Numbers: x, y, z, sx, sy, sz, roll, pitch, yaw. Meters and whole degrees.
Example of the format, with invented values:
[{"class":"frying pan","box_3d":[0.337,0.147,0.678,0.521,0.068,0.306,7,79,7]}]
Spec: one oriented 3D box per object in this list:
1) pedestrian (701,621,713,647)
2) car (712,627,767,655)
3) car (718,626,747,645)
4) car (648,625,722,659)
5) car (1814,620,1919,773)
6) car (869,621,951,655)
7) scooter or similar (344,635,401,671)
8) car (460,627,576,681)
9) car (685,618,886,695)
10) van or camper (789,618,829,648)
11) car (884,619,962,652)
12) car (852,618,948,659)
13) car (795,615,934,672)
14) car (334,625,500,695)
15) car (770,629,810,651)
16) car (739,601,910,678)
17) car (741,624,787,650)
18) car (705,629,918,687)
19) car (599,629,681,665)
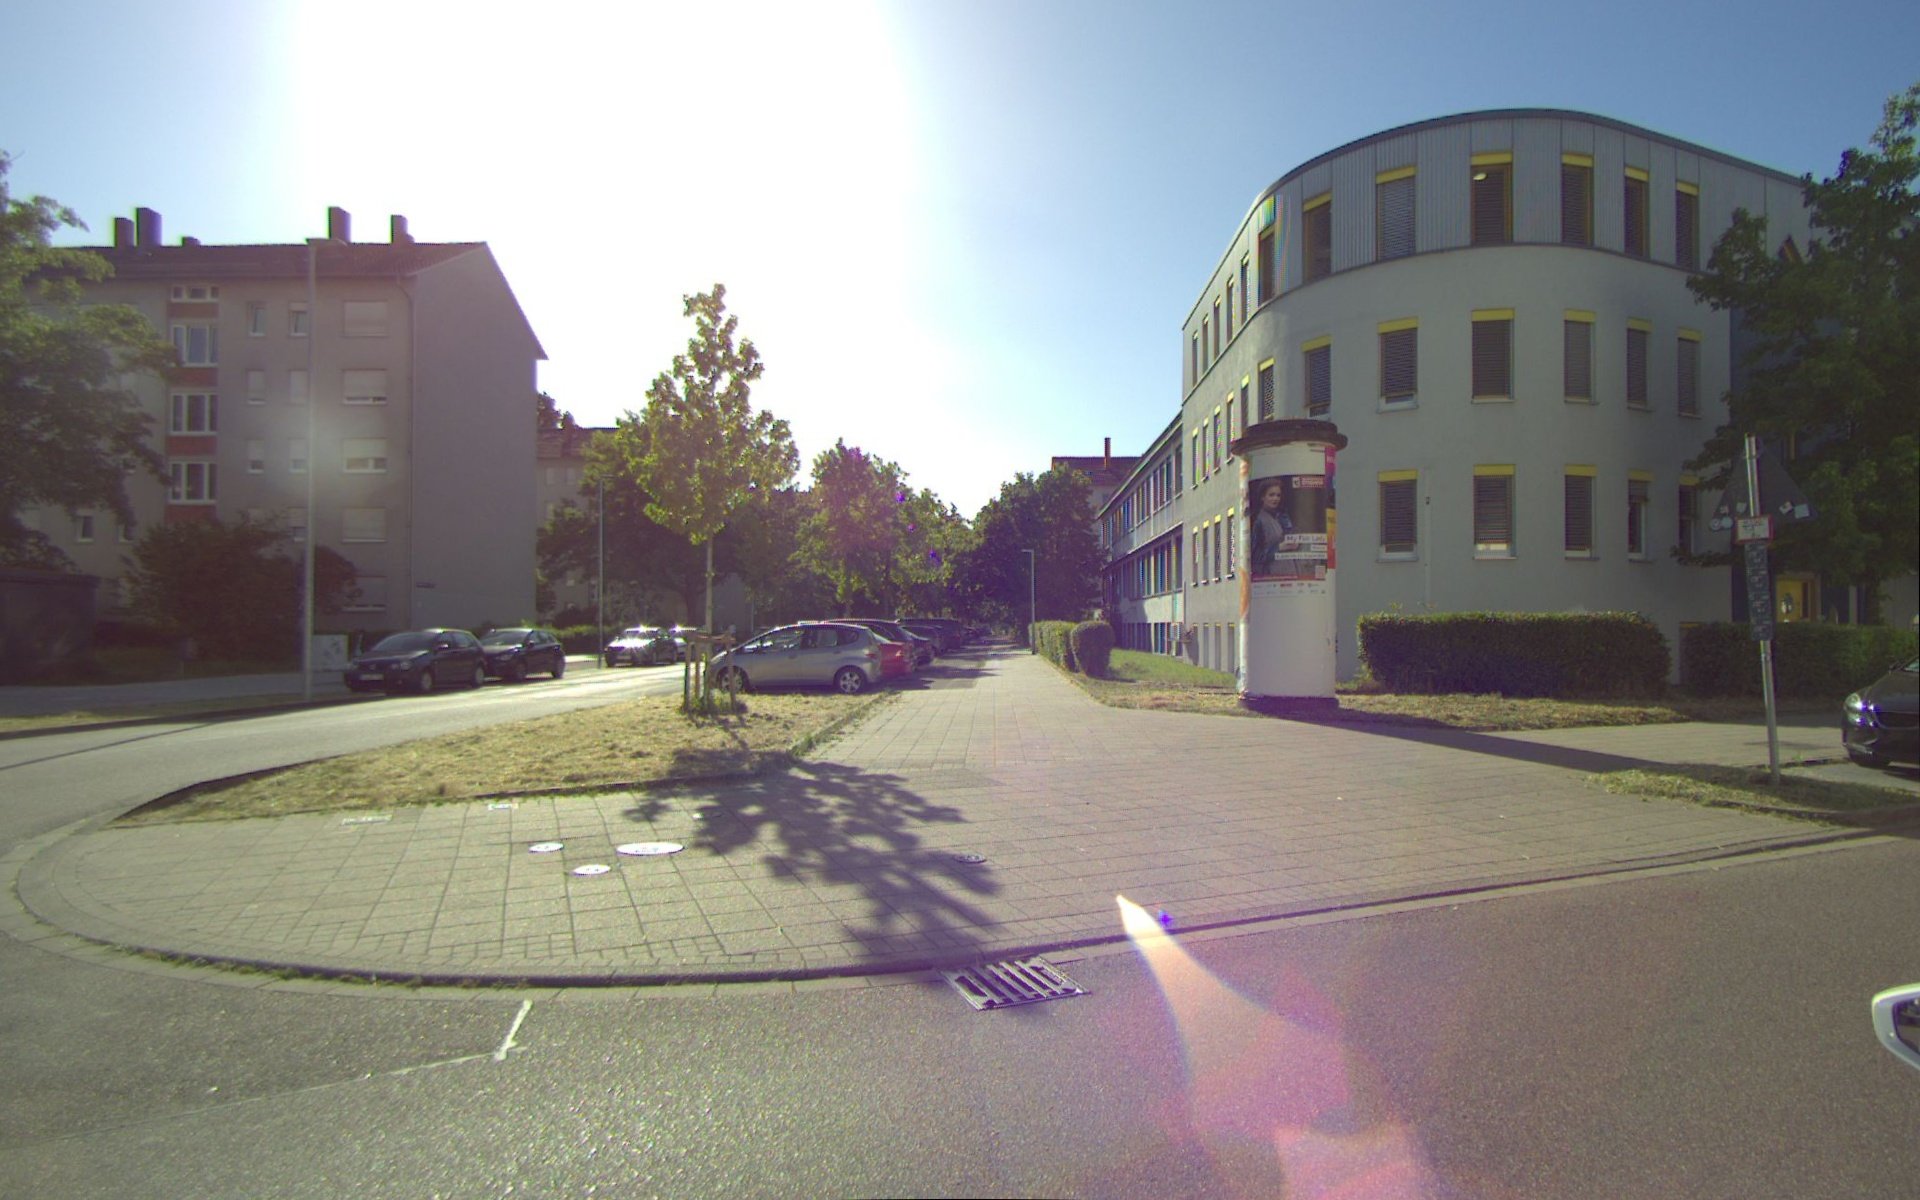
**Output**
[{"class":"pedestrian","box_3d":[-16.479,2.230,65.335,0.624,1.686,0.699,0,-1,-4]},{"class":"car","box_3d":[-11.503,2.138,52.643,1.812,1.416,4.002,0,-2,3]},{"class":"car","box_3d":[-15.658,2.453,69.284,1.252,1.241,2.664,0,-1,4]},{"class":"car","box_3d":[-12.068,1.834,44.335,1.960,1.416,4.002,0,-2,3]},{"class":"car","box_3d":[10.925,0.939,10.304,4.167,1.429,1.783,1,-1,-26]},{"class":"car","box_3d":[-2.568,1.987,52.511,4.208,1.722,2.000,-1,-2,-1]},{"class":"scooter or similar","box_3d":[-18.294,1.648,31.310,0.522,1.060,1.872,0,-1,6]},{"class":"car","box_3d":[-12.348,1.479,28.310,1.382,1.394,4.001,0,-1,2]},{"class":"car","box_3d":[-3.666,1.197,21.626,4.021,1.511,1.729,1,-2,-1]},{"class":"van or camper","box_3d":[-11.141,2.477,74.290,1.960,2.040,4.003,2,-2,5]},{"class":"car","box_3d":[-2.018,1.946,55.241,4.208,1.722,2.000,-1,-2,-1]},{"class":"car","box_3d":[-2.642,1.720,45.021,4.208,1.722,2.000,-1,-2,-1]},{"class":"car","box_3d":[-2.981,1.375,32.052,4.208,1.722,2.000,-1,-2,-1]},{"class":"car","box_3d":[-12.566,1.366,23.554,1.639,1.438,4.001,2,-2,0]},{"class":"car","box_3d":[-11.510,2.696,68.226,1.812,1.416,4.002,0,-2,3]},{"class":"car","box_3d":[-3.529,1.050,26.820,4.209,1.788,2.000,2,-2,0]},{"class":"car","box_3d":[-11.724,2.243,60.313,1.961,1.426,3.909,2,-2,0]},{"class":"car","box_3d":[-3.388,1.351,23.655,4.791,1.291,1.728,0,-2,-2]},{"class":"car","box_3d":[-12.185,1.785,38.527,1.602,1.250,4.194,2,-2,2]}]
